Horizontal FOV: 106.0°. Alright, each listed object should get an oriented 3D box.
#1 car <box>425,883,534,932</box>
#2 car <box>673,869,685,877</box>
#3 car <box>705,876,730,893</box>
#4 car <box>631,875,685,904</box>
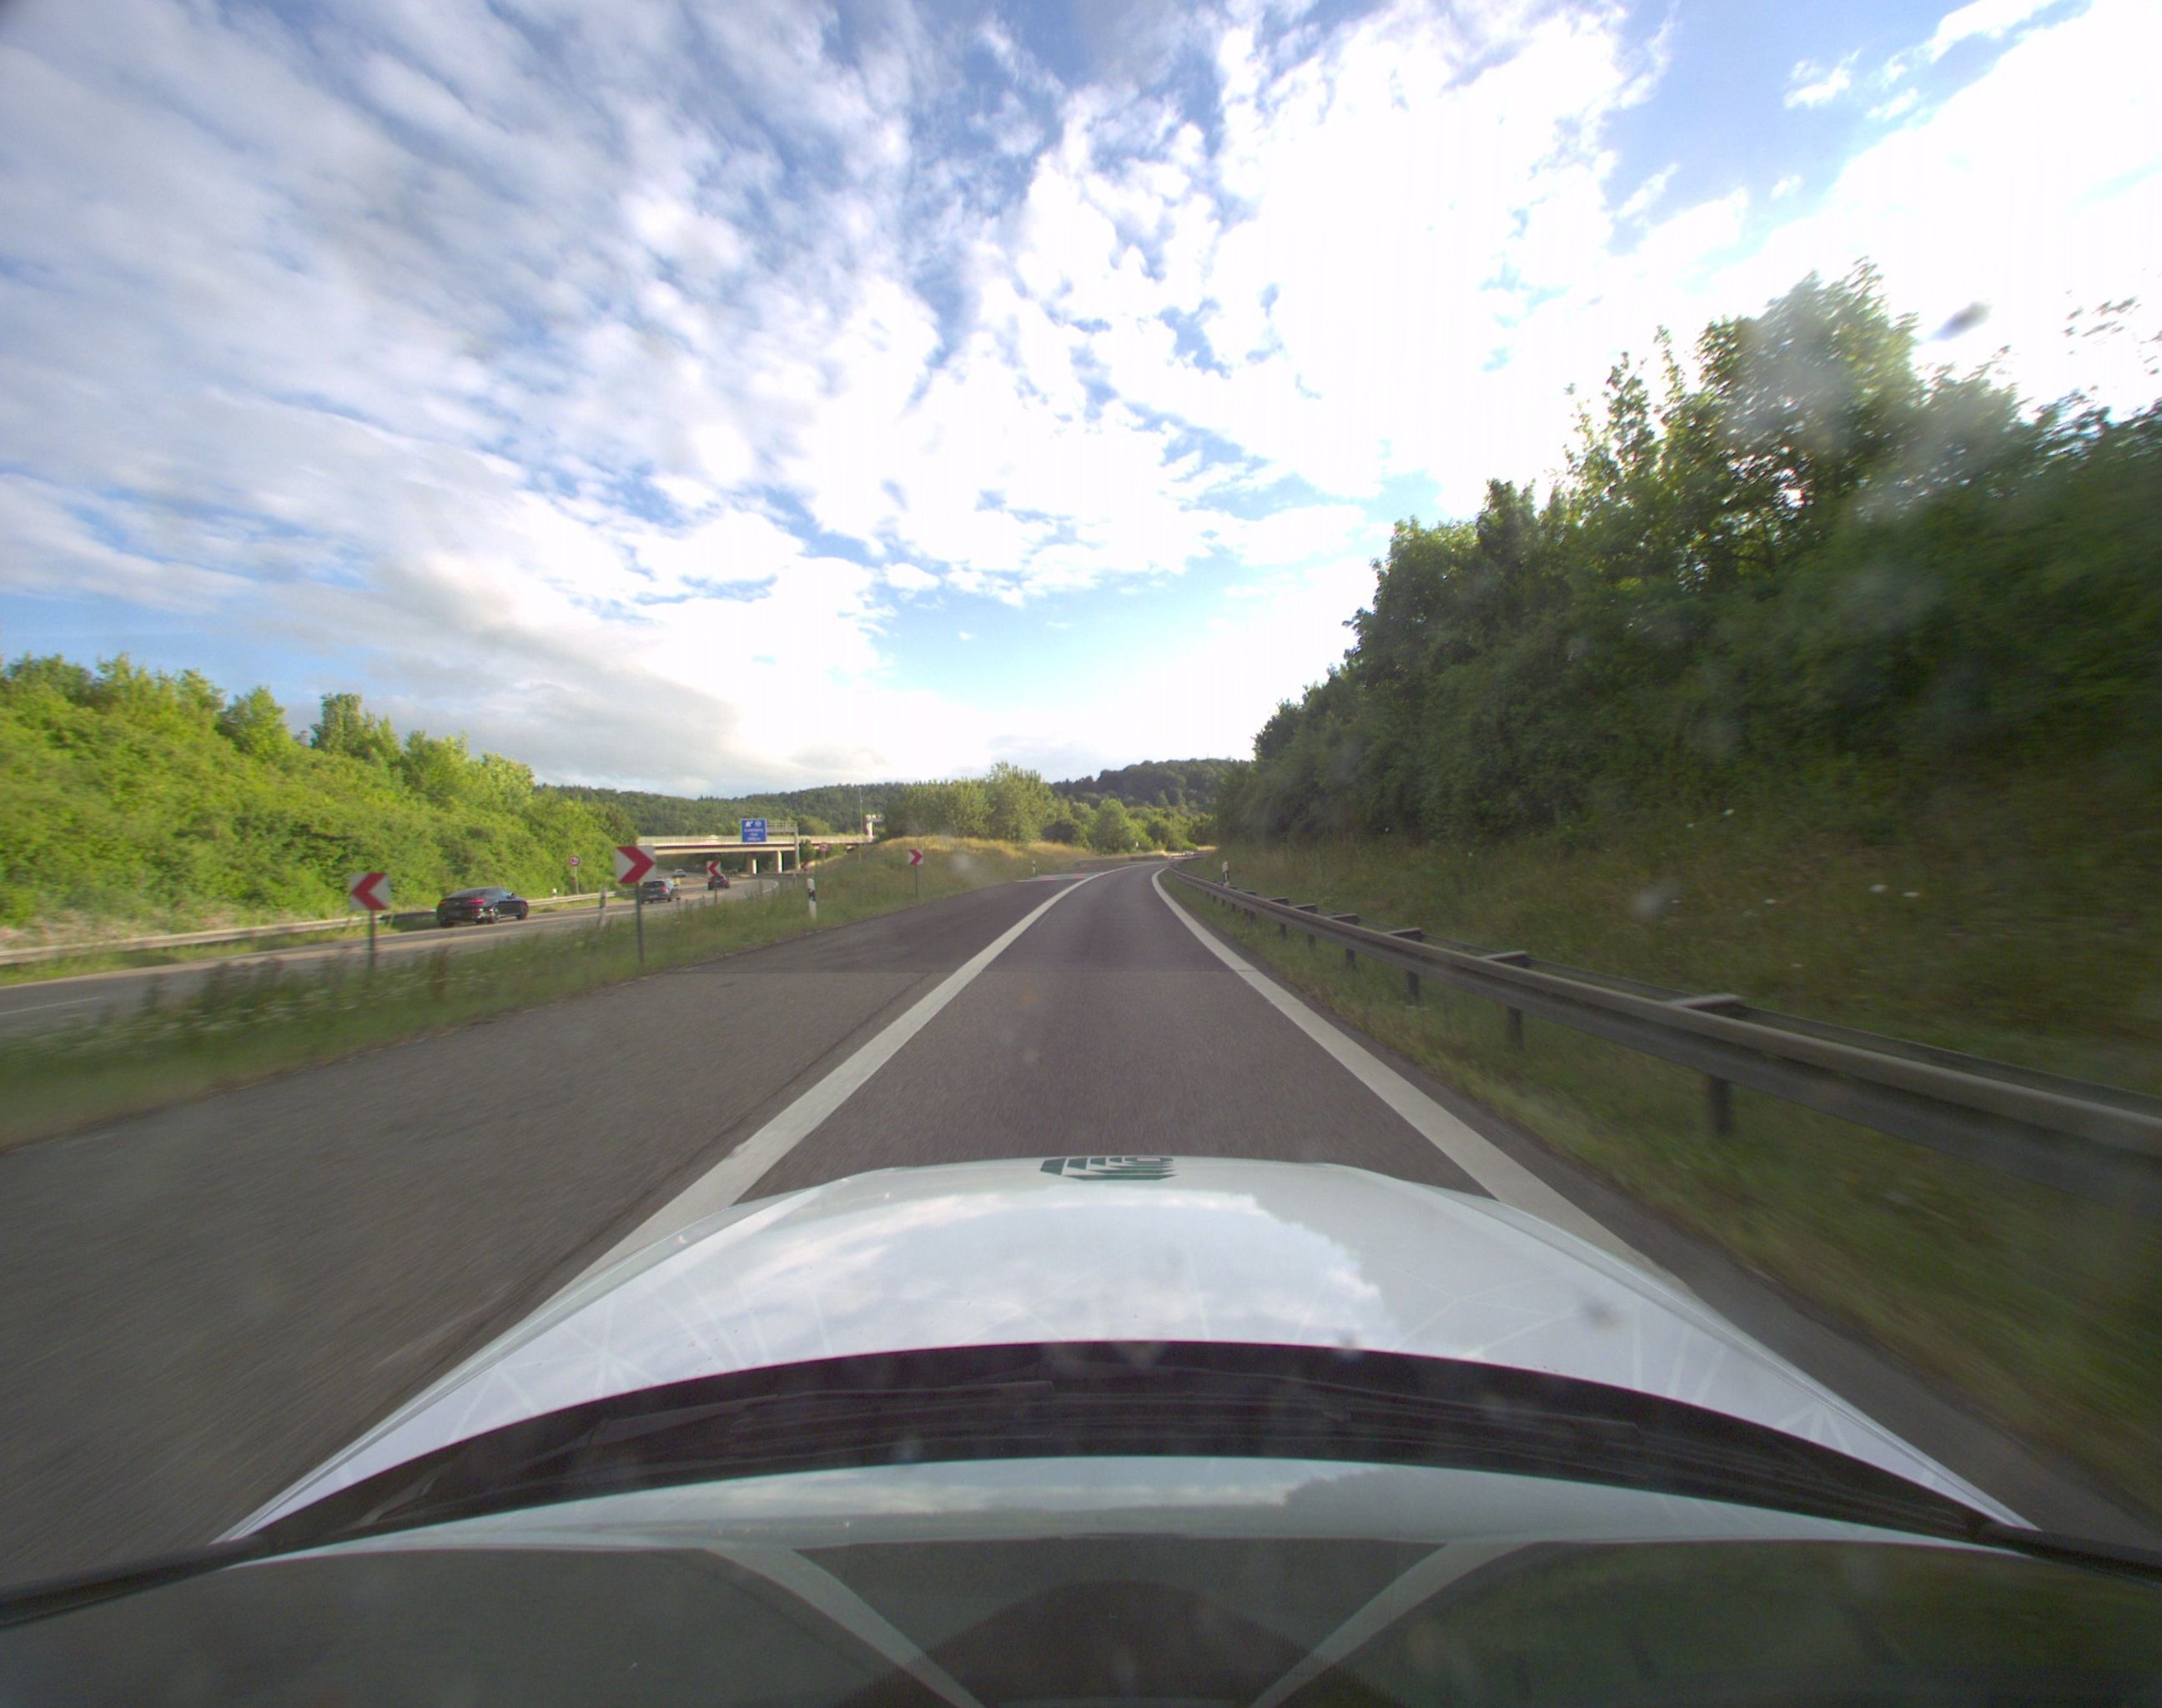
[{"bbox_3d":[-25.205,2.194,34.330,1.831,1.635,3.990,-6,0,-7],"label":"car"},{"bbox_3d":[-80.608,3.765,163.273,1.744,1.466,3.611,-3,0,-22],"label":"car"},{"bbox_3d":[-35.626,2.955,79.971,1.607,1.466,3.509,-5,0,-15],"label":"car"},{"bbox_3d":[-25.280,2.107,48.809,1.739,1.466,3.772,-6,0,-12],"label":"car"}]
